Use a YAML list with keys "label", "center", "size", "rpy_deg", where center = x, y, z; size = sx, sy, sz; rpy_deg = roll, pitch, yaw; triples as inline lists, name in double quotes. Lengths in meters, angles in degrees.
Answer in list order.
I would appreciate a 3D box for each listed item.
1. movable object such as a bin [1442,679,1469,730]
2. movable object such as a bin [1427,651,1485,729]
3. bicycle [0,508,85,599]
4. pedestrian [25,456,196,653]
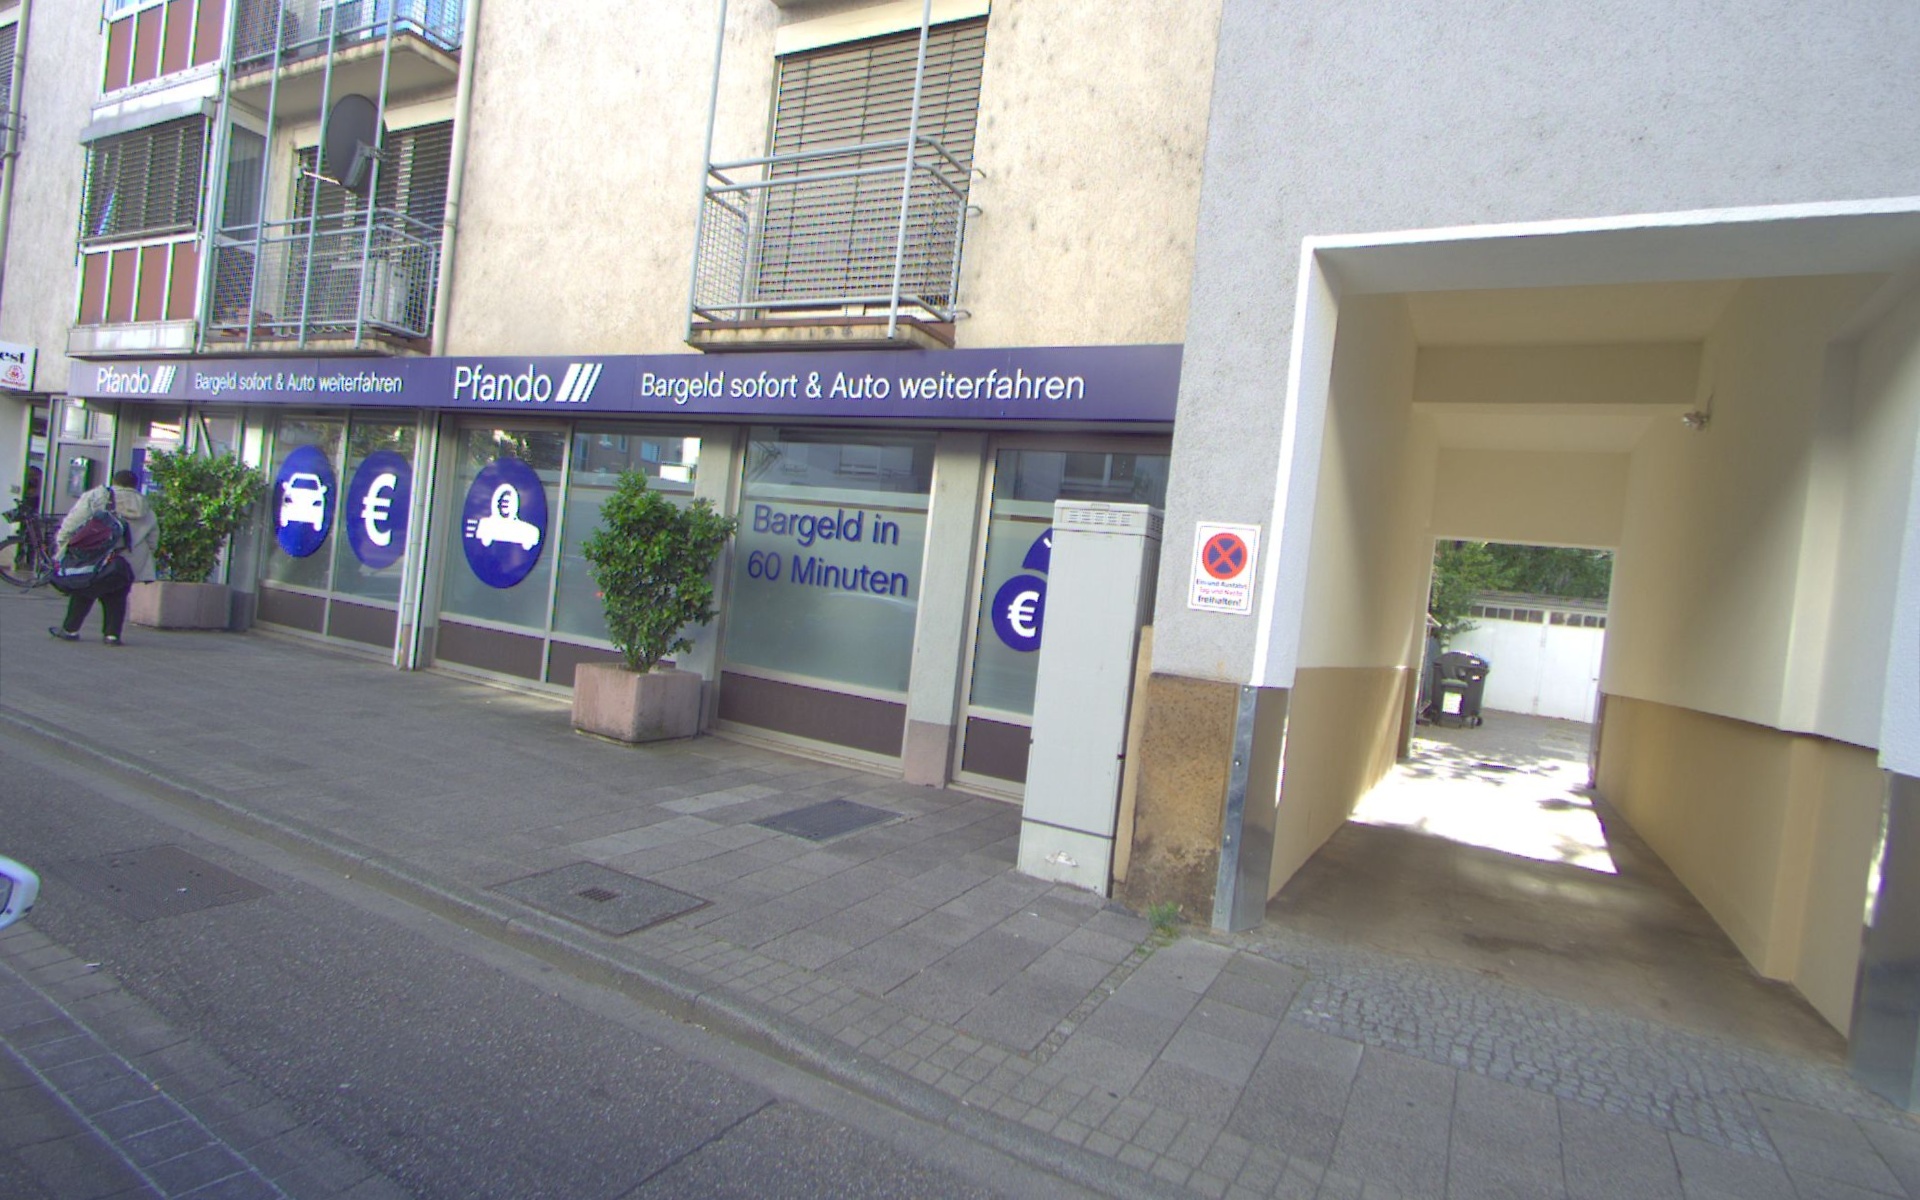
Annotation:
- label: "movable object such as a bin"
  center: [9.567, 2.017, 19.436]
  size: [0.365, 0.920, 0.420]
  rpy_deg: [7, 2, 28]
- label: "movable object such as a bin"
  center: [9.931, 1.784, 20.125]
  size: [0.873, 1.411, 0.758]
  rpy_deg: [7, 2, 28]
- label: "bicycle"
  center: [-11.917, -0.616, 12.865]
  size: [1.678, 1.010, 0.543]
  rpy_deg: [6, -1, 32]
- label: "pedestrian"
  center: [-7.607, -0.395, 9.024]
  size: [0.738, 1.611, 0.827]
  rpy_deg: [6, -1, 31]
